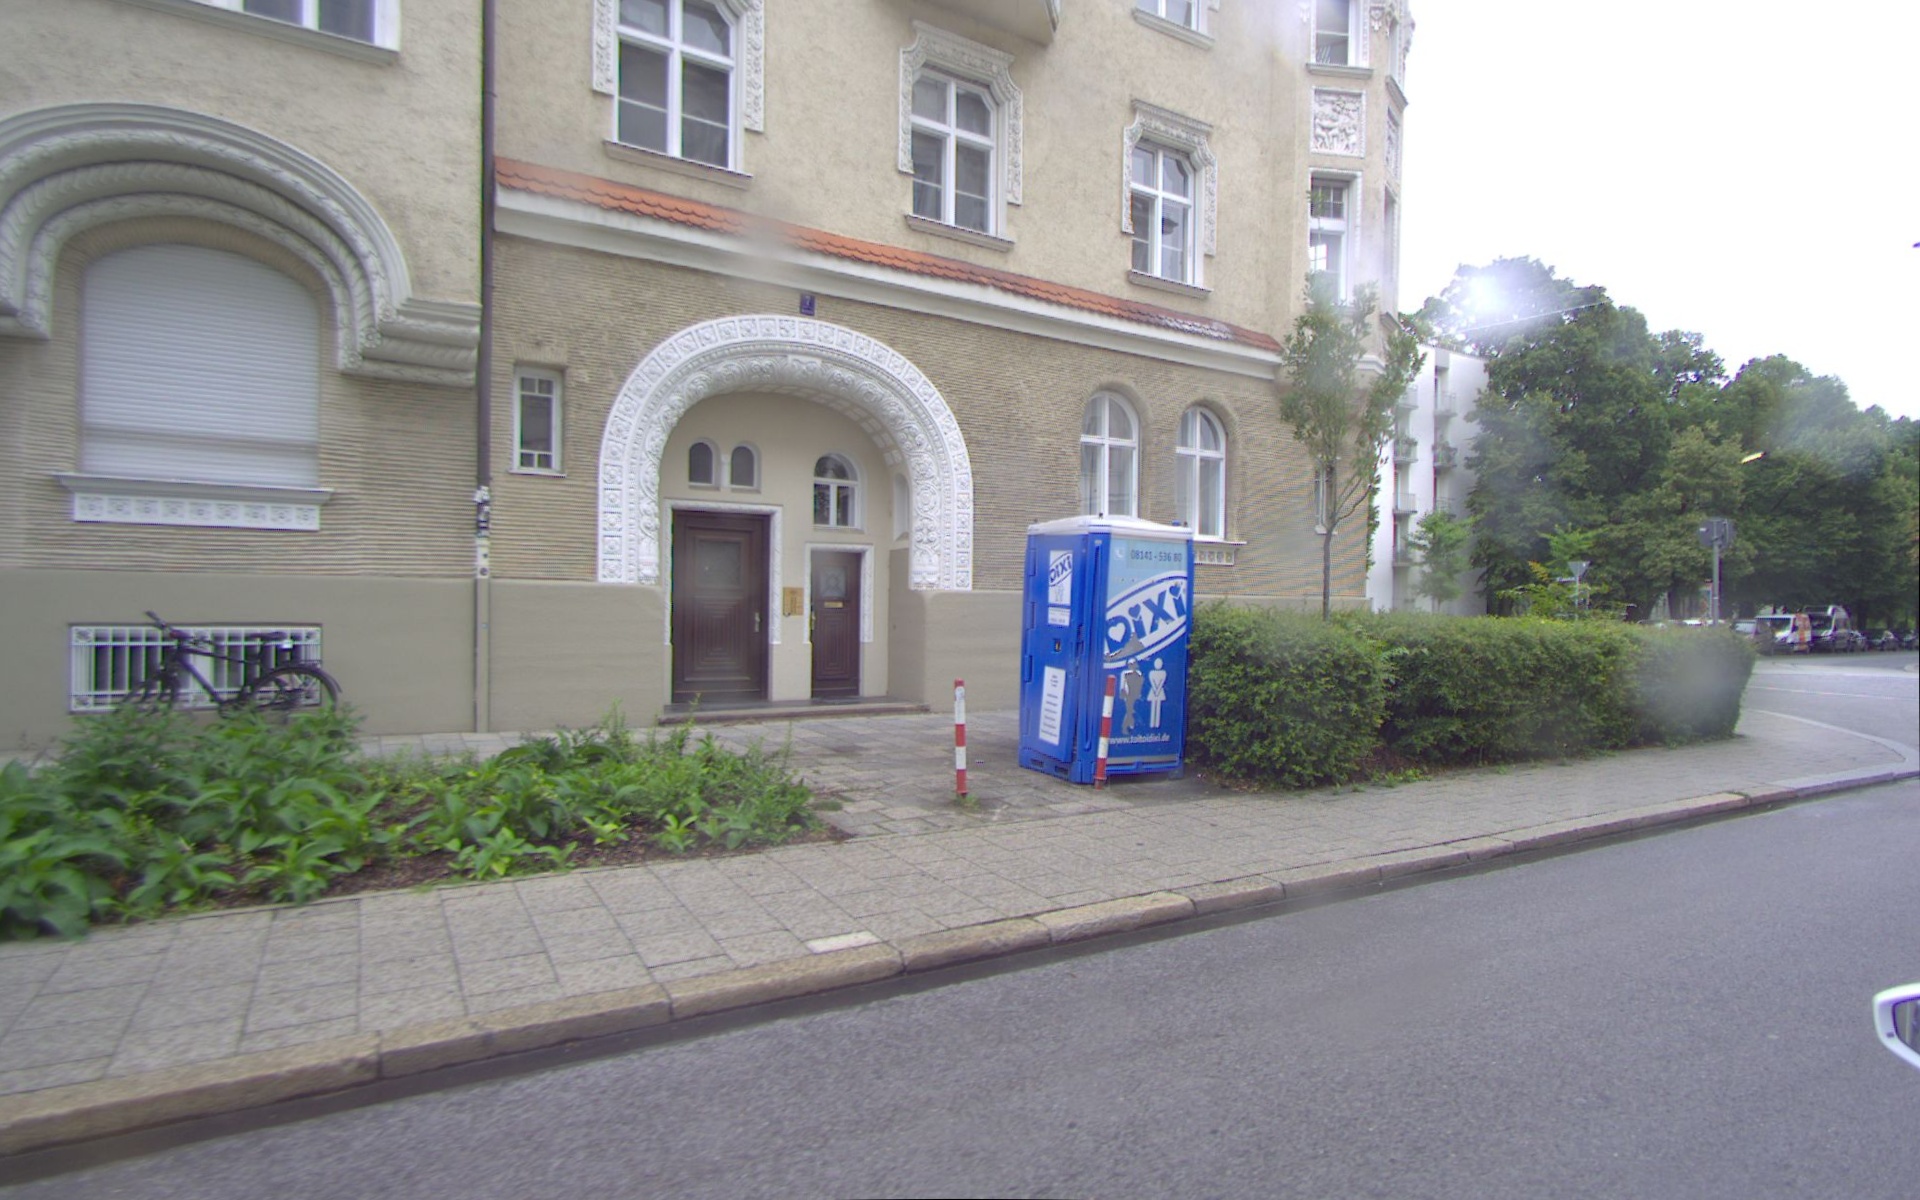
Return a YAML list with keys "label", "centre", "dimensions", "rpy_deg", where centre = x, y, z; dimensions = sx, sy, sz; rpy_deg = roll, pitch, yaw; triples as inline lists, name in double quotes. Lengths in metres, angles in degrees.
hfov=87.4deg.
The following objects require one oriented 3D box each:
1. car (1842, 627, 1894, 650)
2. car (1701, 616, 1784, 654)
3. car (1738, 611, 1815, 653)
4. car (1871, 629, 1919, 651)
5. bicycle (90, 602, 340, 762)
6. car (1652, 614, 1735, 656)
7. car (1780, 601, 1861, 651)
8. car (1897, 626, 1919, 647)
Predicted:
- label: "car"
  centre: [62.595, 2.643, 69.209]
  dimensions: [4.035, 1.558, 1.882]
  rpy_deg: [1, -1, -36]
- label: "car"
  centre: [40.997, 1.812, 52.594]
  dimensions: [4.937, 1.883, 2.051]
  rpy_deg: [1, -1, -35]
- label: "car"
  centre: [46.508, 1.803, 57.181]
  dimensions: [5.143, 2.281, 2.097]
  rpy_deg: [1, -1, -35]
- label: "car"
  centre: [69.301, 2.953, 74.427]
  dimensions: [4.035, 1.592, 1.882]
  rpy_deg: [1, -1, -36]
- label: "bicycle"
  centre: [-6.516, 0.678, 8.909]
  dimensions: [1.683, 1.293, 0.741]
  rpy_deg: [1, 0, -30]
- label: "car"
  centre: [35.650, 1.700, 48.770]
  dimensions: [4.821, 1.920, 1.912]
  rpy_deg: [1, -1, -36]
- label: "car"
  centre: [53.892, 1.630, 62.848]
  dimensions: [6.513, 2.961, 2.320]
  rpy_deg: [1, -1, -35]
- label: "car"
  centre: [77.968, 2.963, 81.653]
  dimensions: [4.035, 1.592, 1.882]
  rpy_deg: [1, -1, -36]
